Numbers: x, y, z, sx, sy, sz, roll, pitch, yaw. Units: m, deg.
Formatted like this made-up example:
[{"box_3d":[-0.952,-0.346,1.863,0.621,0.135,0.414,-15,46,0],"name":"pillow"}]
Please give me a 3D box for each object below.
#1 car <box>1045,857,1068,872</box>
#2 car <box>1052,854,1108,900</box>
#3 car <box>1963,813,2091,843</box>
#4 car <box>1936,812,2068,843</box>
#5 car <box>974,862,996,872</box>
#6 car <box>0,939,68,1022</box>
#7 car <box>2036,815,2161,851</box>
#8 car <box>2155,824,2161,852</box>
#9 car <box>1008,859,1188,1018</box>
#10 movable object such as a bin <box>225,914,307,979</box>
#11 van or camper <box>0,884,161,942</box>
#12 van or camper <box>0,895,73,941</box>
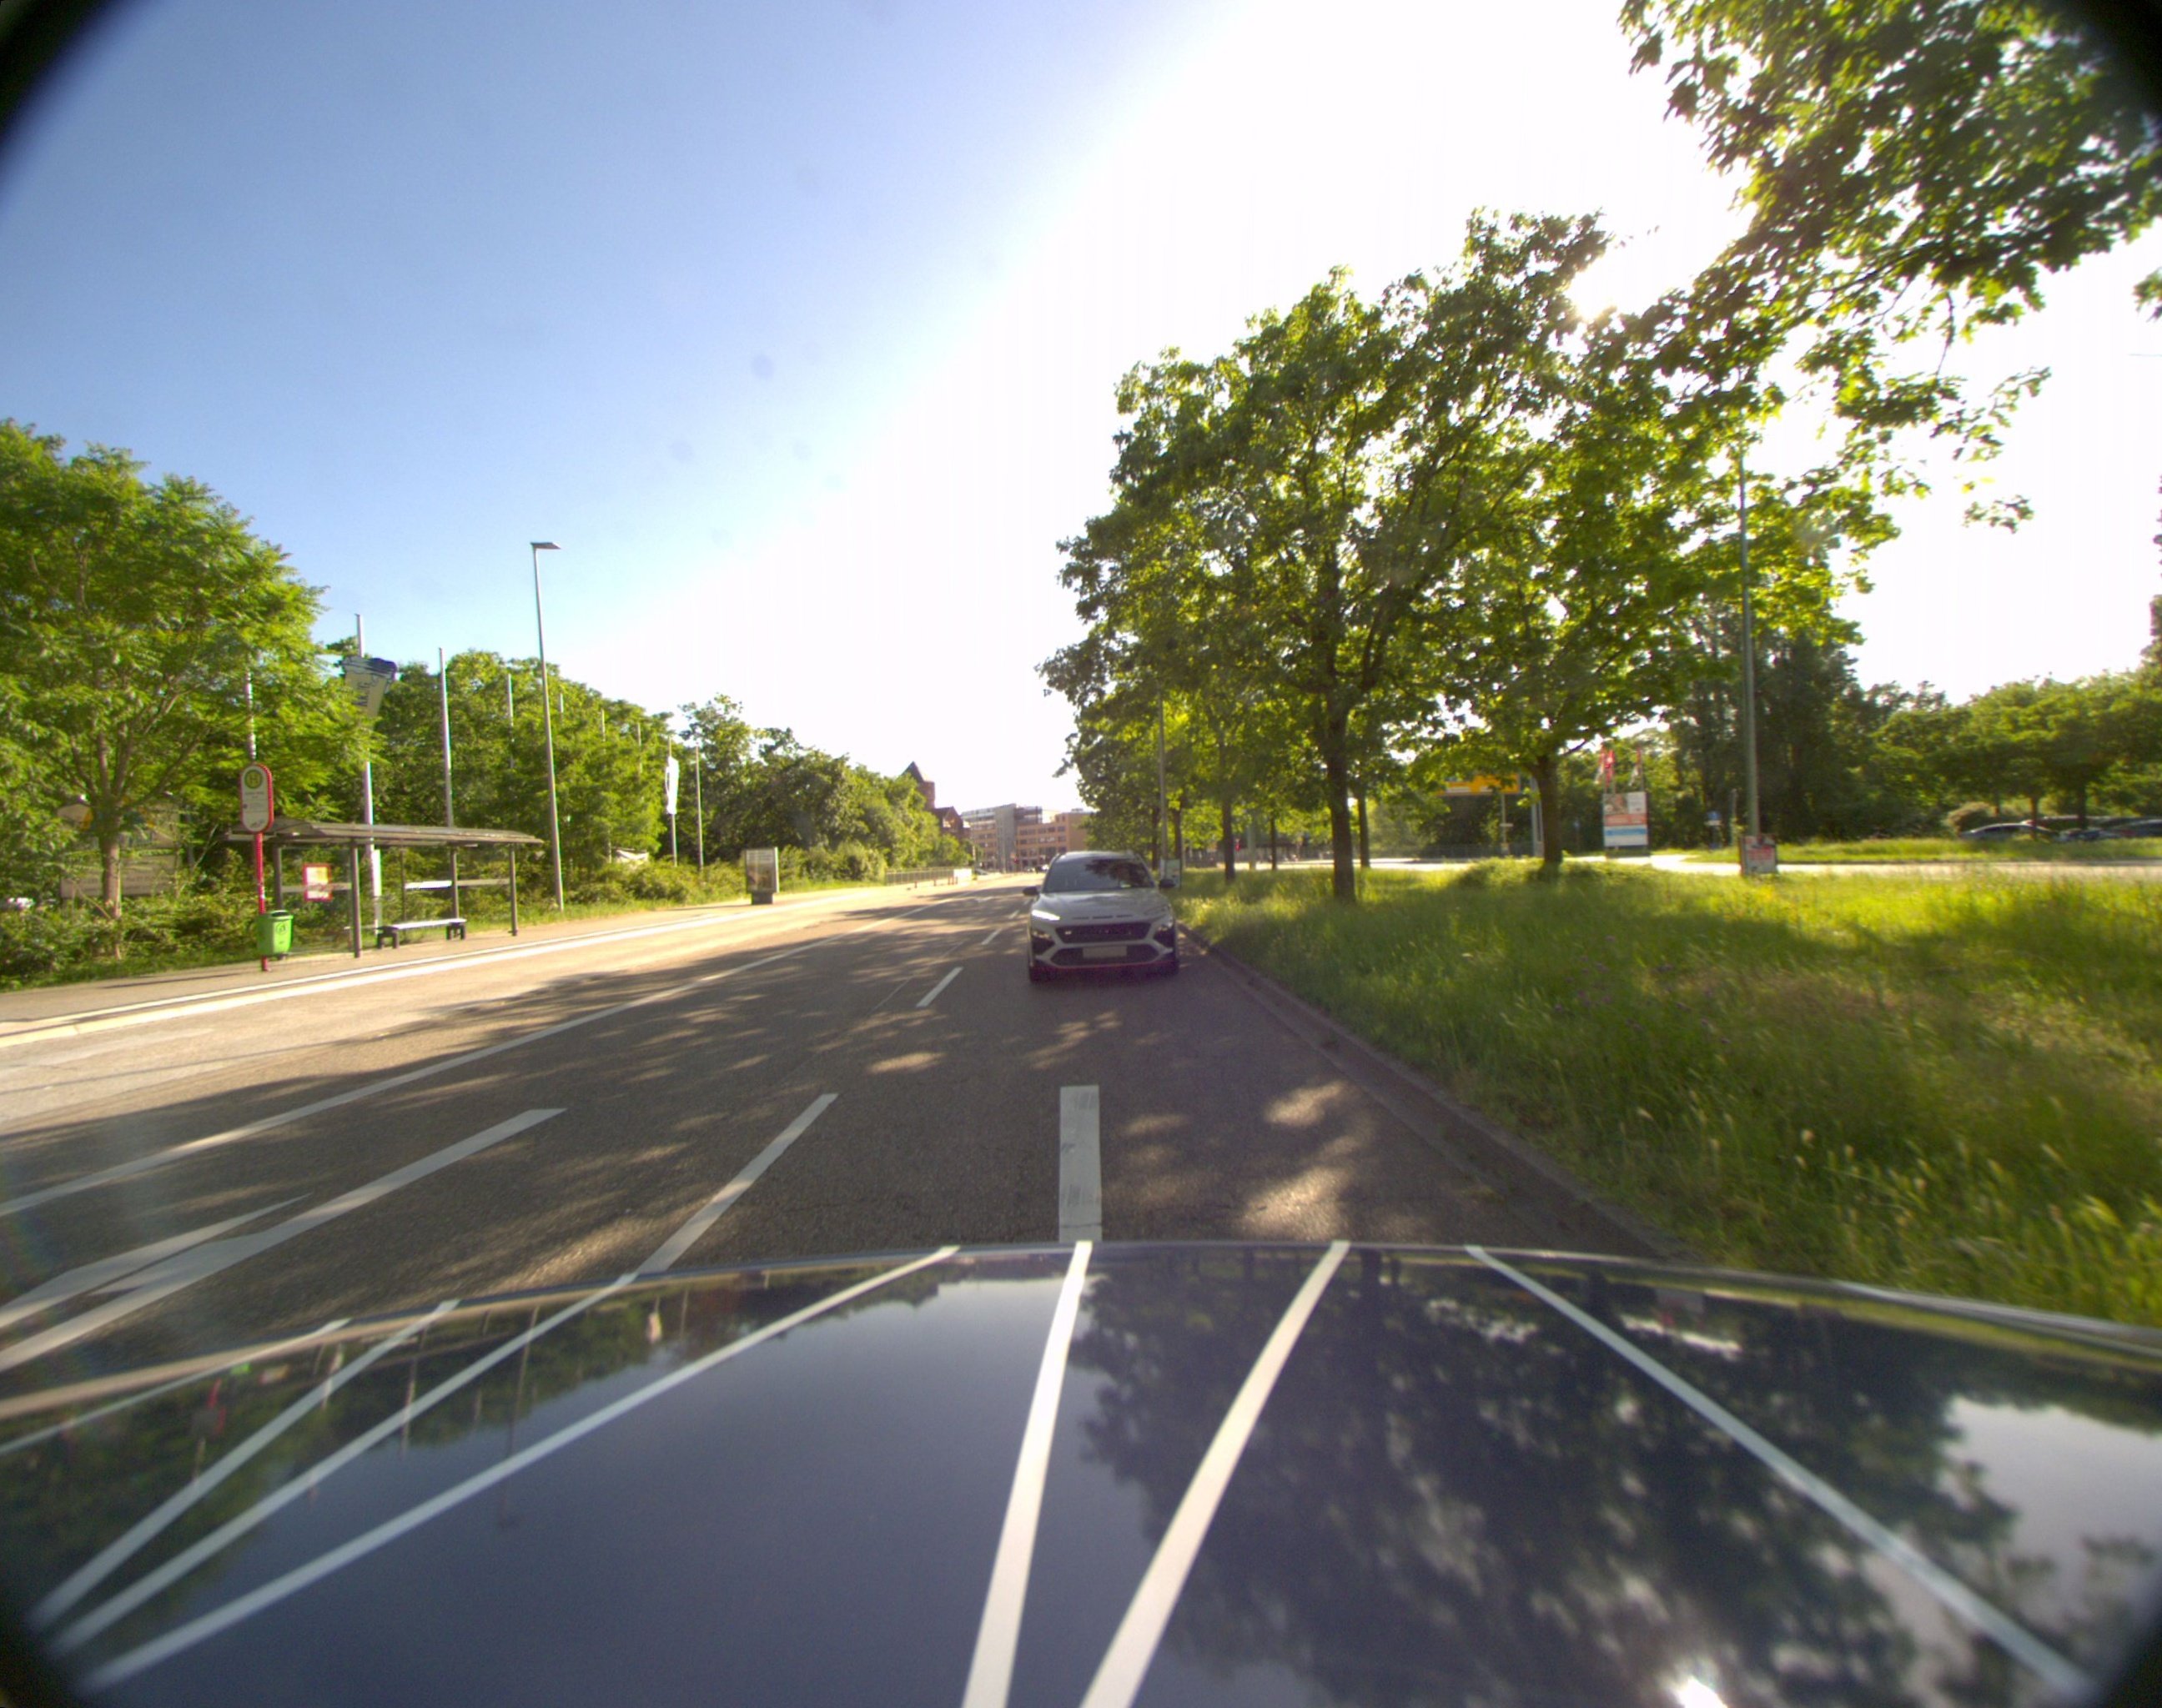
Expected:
[{"box_3d":[-3.201,1.411,99.375,1.748,1.537,3.998,-1,-7,-22],"name":"car"},{"box_3d":[0.038,0.820,29.059,1.744,1.539,4.001,-3,0,5],"name":"car"},{"box_3d":[56.416,-1.544,45.408,2.003,1.456,4.547,-5,1,-30],"name":"car"},{"box_3d":[53.077,-1.482,43.900,2.003,1.456,4.547,-5,1,-30],"name":"car"},{"box_3d":[-15.991,2.218,126.738,1.833,1.464,3.990,-3,0,-36],"name":"car"},{"box_3d":[-23.907,2.796,15.410,1.766,1.628,3.613,-3,0,1],"name":"car"},{"box_3d":[44.618,-0.896,33.114,1.818,1.440,4.005,-3,0,19],"name":"car"},{"box_3d":[44.124,-0.675,28.510,1.822,1.122,3.997,-3,0,-7],"name":"car"},{"box_3d":[0.229,0.889,9.817,1.780,1.542,3.980,-3,0,1],"name":"car"},{"box_3d":[-13.959,1.577,13.032,0.728,1.024,0.578,-3,0,-1],"name":"movable object such as a bin"},{"box_3d":[-44.740,2.544,33.352,2.458,2.146,5.325,-3,0,-6],"name":"van or camper"},{"box_3d":[-48.471,2.925,32.963,2.458,1.902,5.325,-3,0,-5],"name":"van or camper"}]
